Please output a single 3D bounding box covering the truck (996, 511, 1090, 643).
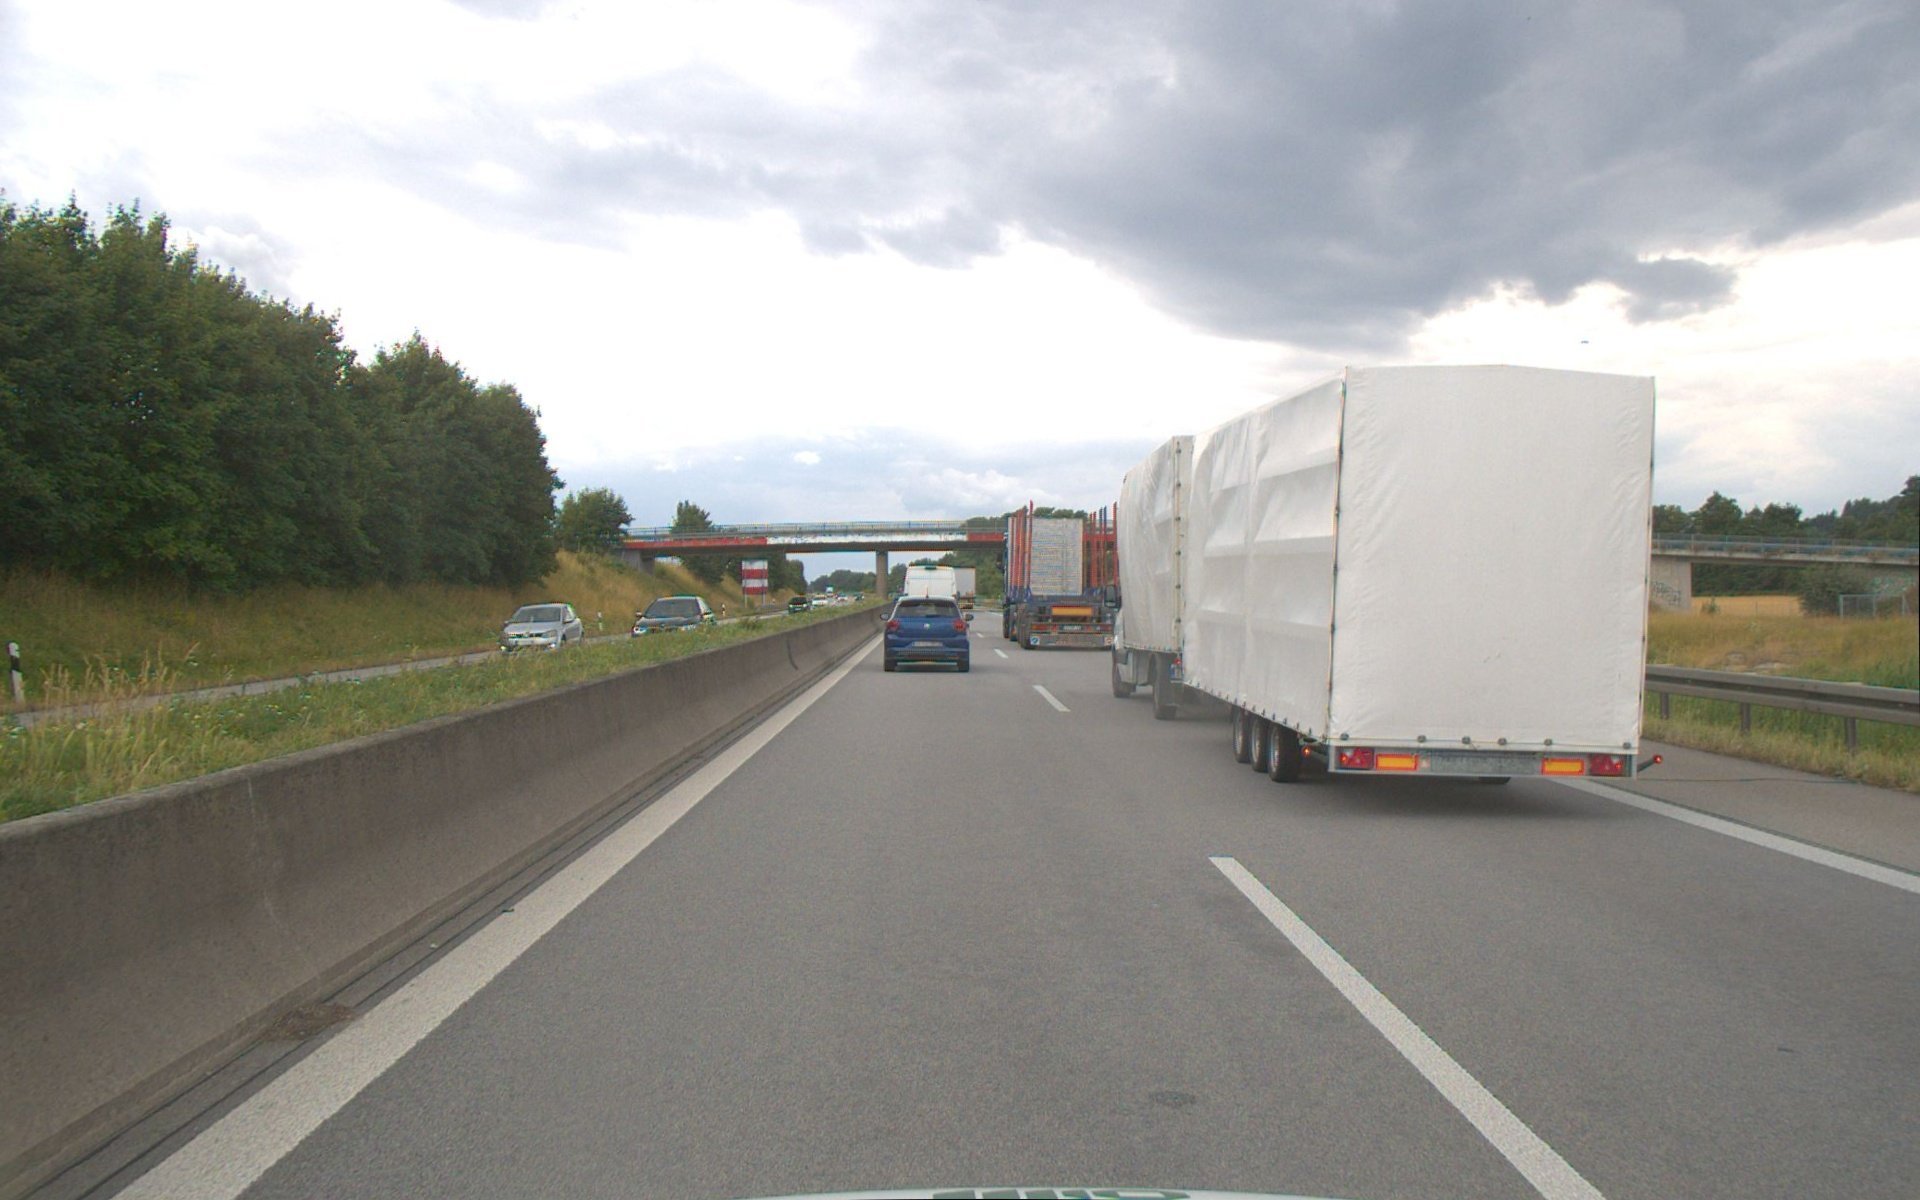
[{"bbox_3d":[2.684,-0.760,54.925,2.619,4.116,5.510,-1,1,-2],"label":"truck"}]

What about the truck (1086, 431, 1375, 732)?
[{"bbox_3d":[3.261,-0.217,21.843,2.381,3.300,7.244,0,0,-2],"label":"truck"}]

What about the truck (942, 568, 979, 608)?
[{"bbox_3d":[0.024,-1.178,163.117,3.048,3.754,9.317,-2,0,-3],"label":"truck"}]

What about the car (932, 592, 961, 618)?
[{"bbox_3d":[-0.837,0.276,97.570,1.630,1.431,3.647,0,1,-2],"label":"car"}]

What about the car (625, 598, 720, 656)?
[{"bbox_3d":[-7.775,0.686,45.129,1.811,1.402,4.599,-3,0,-1],"label":"car"}]

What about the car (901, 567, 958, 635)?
[{"bbox_3d":[-1.179,0.037,64.433,2.087,2.526,5.838,0,0,-1],"label":"car"}]

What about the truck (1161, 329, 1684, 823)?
[{"bbox_3d":[3.525,-0.173,14.589,2.366,3.278,7.140,0,0,-2],"label":"truck"}]

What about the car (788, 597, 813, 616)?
[{"bbox_3d":[-13.186,0.519,136.818,1.613,1.402,4.234,-3,0,-1],"label":"car"}]

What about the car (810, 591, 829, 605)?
[{"bbox_3d":[-16.082,-0.227,189.744,1.857,1.487,4.541,-3,0,-1],"label":"car"}]

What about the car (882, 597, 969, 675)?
[{"bbox_3d":[-0.695,0.677,33.184,1.630,1.431,3.647,0,1,-1],"label":"car"}]

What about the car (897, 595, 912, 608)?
[{"bbox_3d":[-7.416,0.145,220.464,1.953,1.713,3.999,0,0,-1],"label":"car"}]

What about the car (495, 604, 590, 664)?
[{"bbox_3d":[-11.196,0.874,44.543,1.613,1.434,3.887,-3,0,-2],"label":"car"}]

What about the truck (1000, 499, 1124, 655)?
[{"bbox_3d":[2.855,-0.700,49.485,2.619,4.116,11.103,-1,1,-2],"label":"truck"}]
